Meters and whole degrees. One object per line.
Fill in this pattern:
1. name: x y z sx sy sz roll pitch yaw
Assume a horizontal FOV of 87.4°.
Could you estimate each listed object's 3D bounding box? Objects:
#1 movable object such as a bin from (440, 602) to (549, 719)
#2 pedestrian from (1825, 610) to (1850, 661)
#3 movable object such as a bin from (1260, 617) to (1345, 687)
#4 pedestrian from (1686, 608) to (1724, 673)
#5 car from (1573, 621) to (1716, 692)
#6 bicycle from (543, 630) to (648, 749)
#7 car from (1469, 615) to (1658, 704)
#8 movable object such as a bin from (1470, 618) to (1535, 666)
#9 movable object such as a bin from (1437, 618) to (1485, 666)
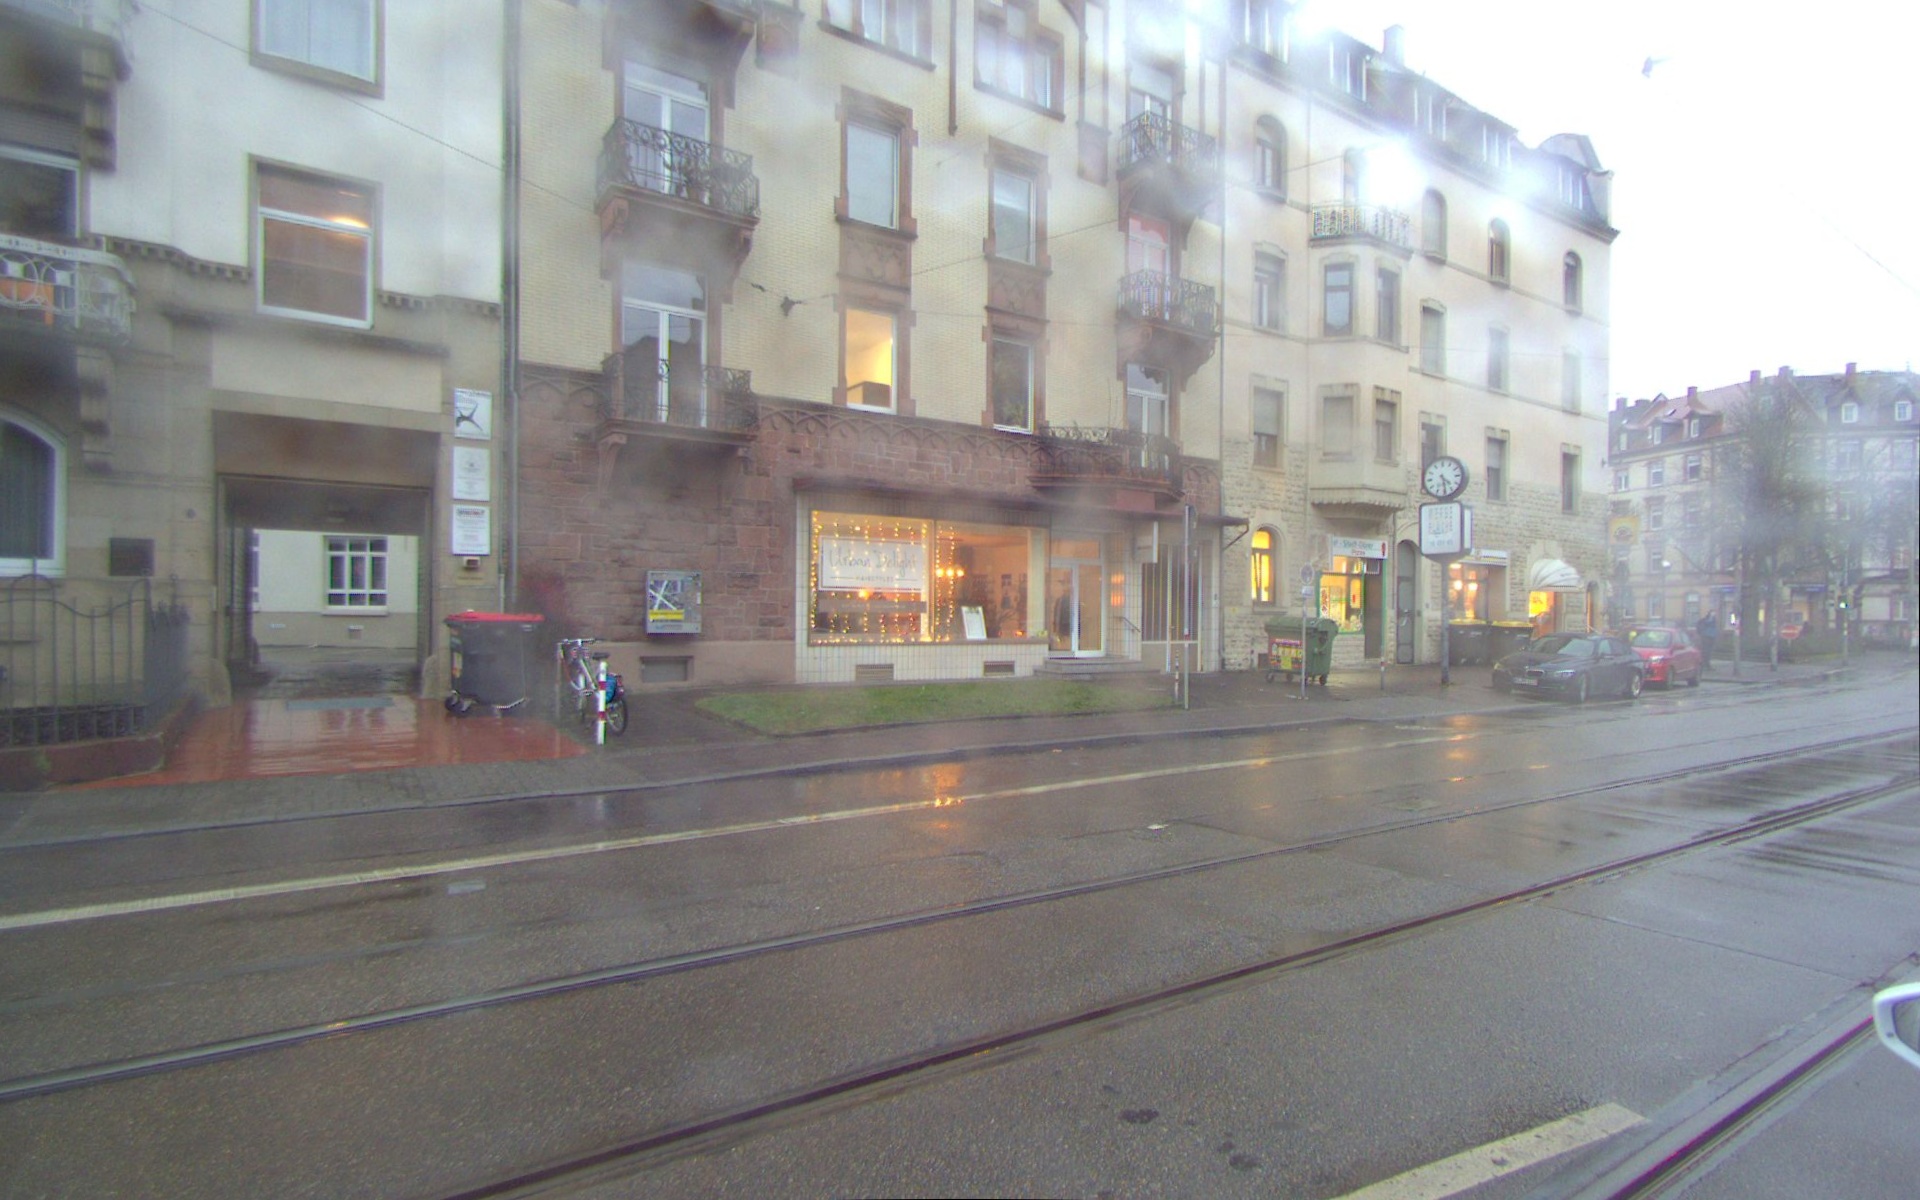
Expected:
1. movable object such as a bin: -6.093 0.753 13.138 1.155 1.398 1.096 1 2 -32
2. pedestrian: 35.518 1.434 40.668 0.695 2.040 0.658 0 0 37
3. movable object such as a bin: 7.454 1.109 21.880 1.236 1.439 1.260 1 0 -33
4. pedestrian: 23.809 1.288 32.126 0.635 2.040 0.758 1 0 3
5. car: 18.239 1.426 26.726 3.997 1.573 2.021 0 3 -39
6. bicycle: -4.309 0.981 11.750 0.687 1.120 2.336 1 1 -32
7. car: 13.762 1.299 22.819 4.587 1.667 1.972 2 3 -37
8. movable object such as a bin: 16.320 1.233 30.225 1.239 1.385 1.286 1 0 -34
9. movable object such as a bin: 14.931 1.232 29.925 0.996 1.396 0.893 1 0 -33
